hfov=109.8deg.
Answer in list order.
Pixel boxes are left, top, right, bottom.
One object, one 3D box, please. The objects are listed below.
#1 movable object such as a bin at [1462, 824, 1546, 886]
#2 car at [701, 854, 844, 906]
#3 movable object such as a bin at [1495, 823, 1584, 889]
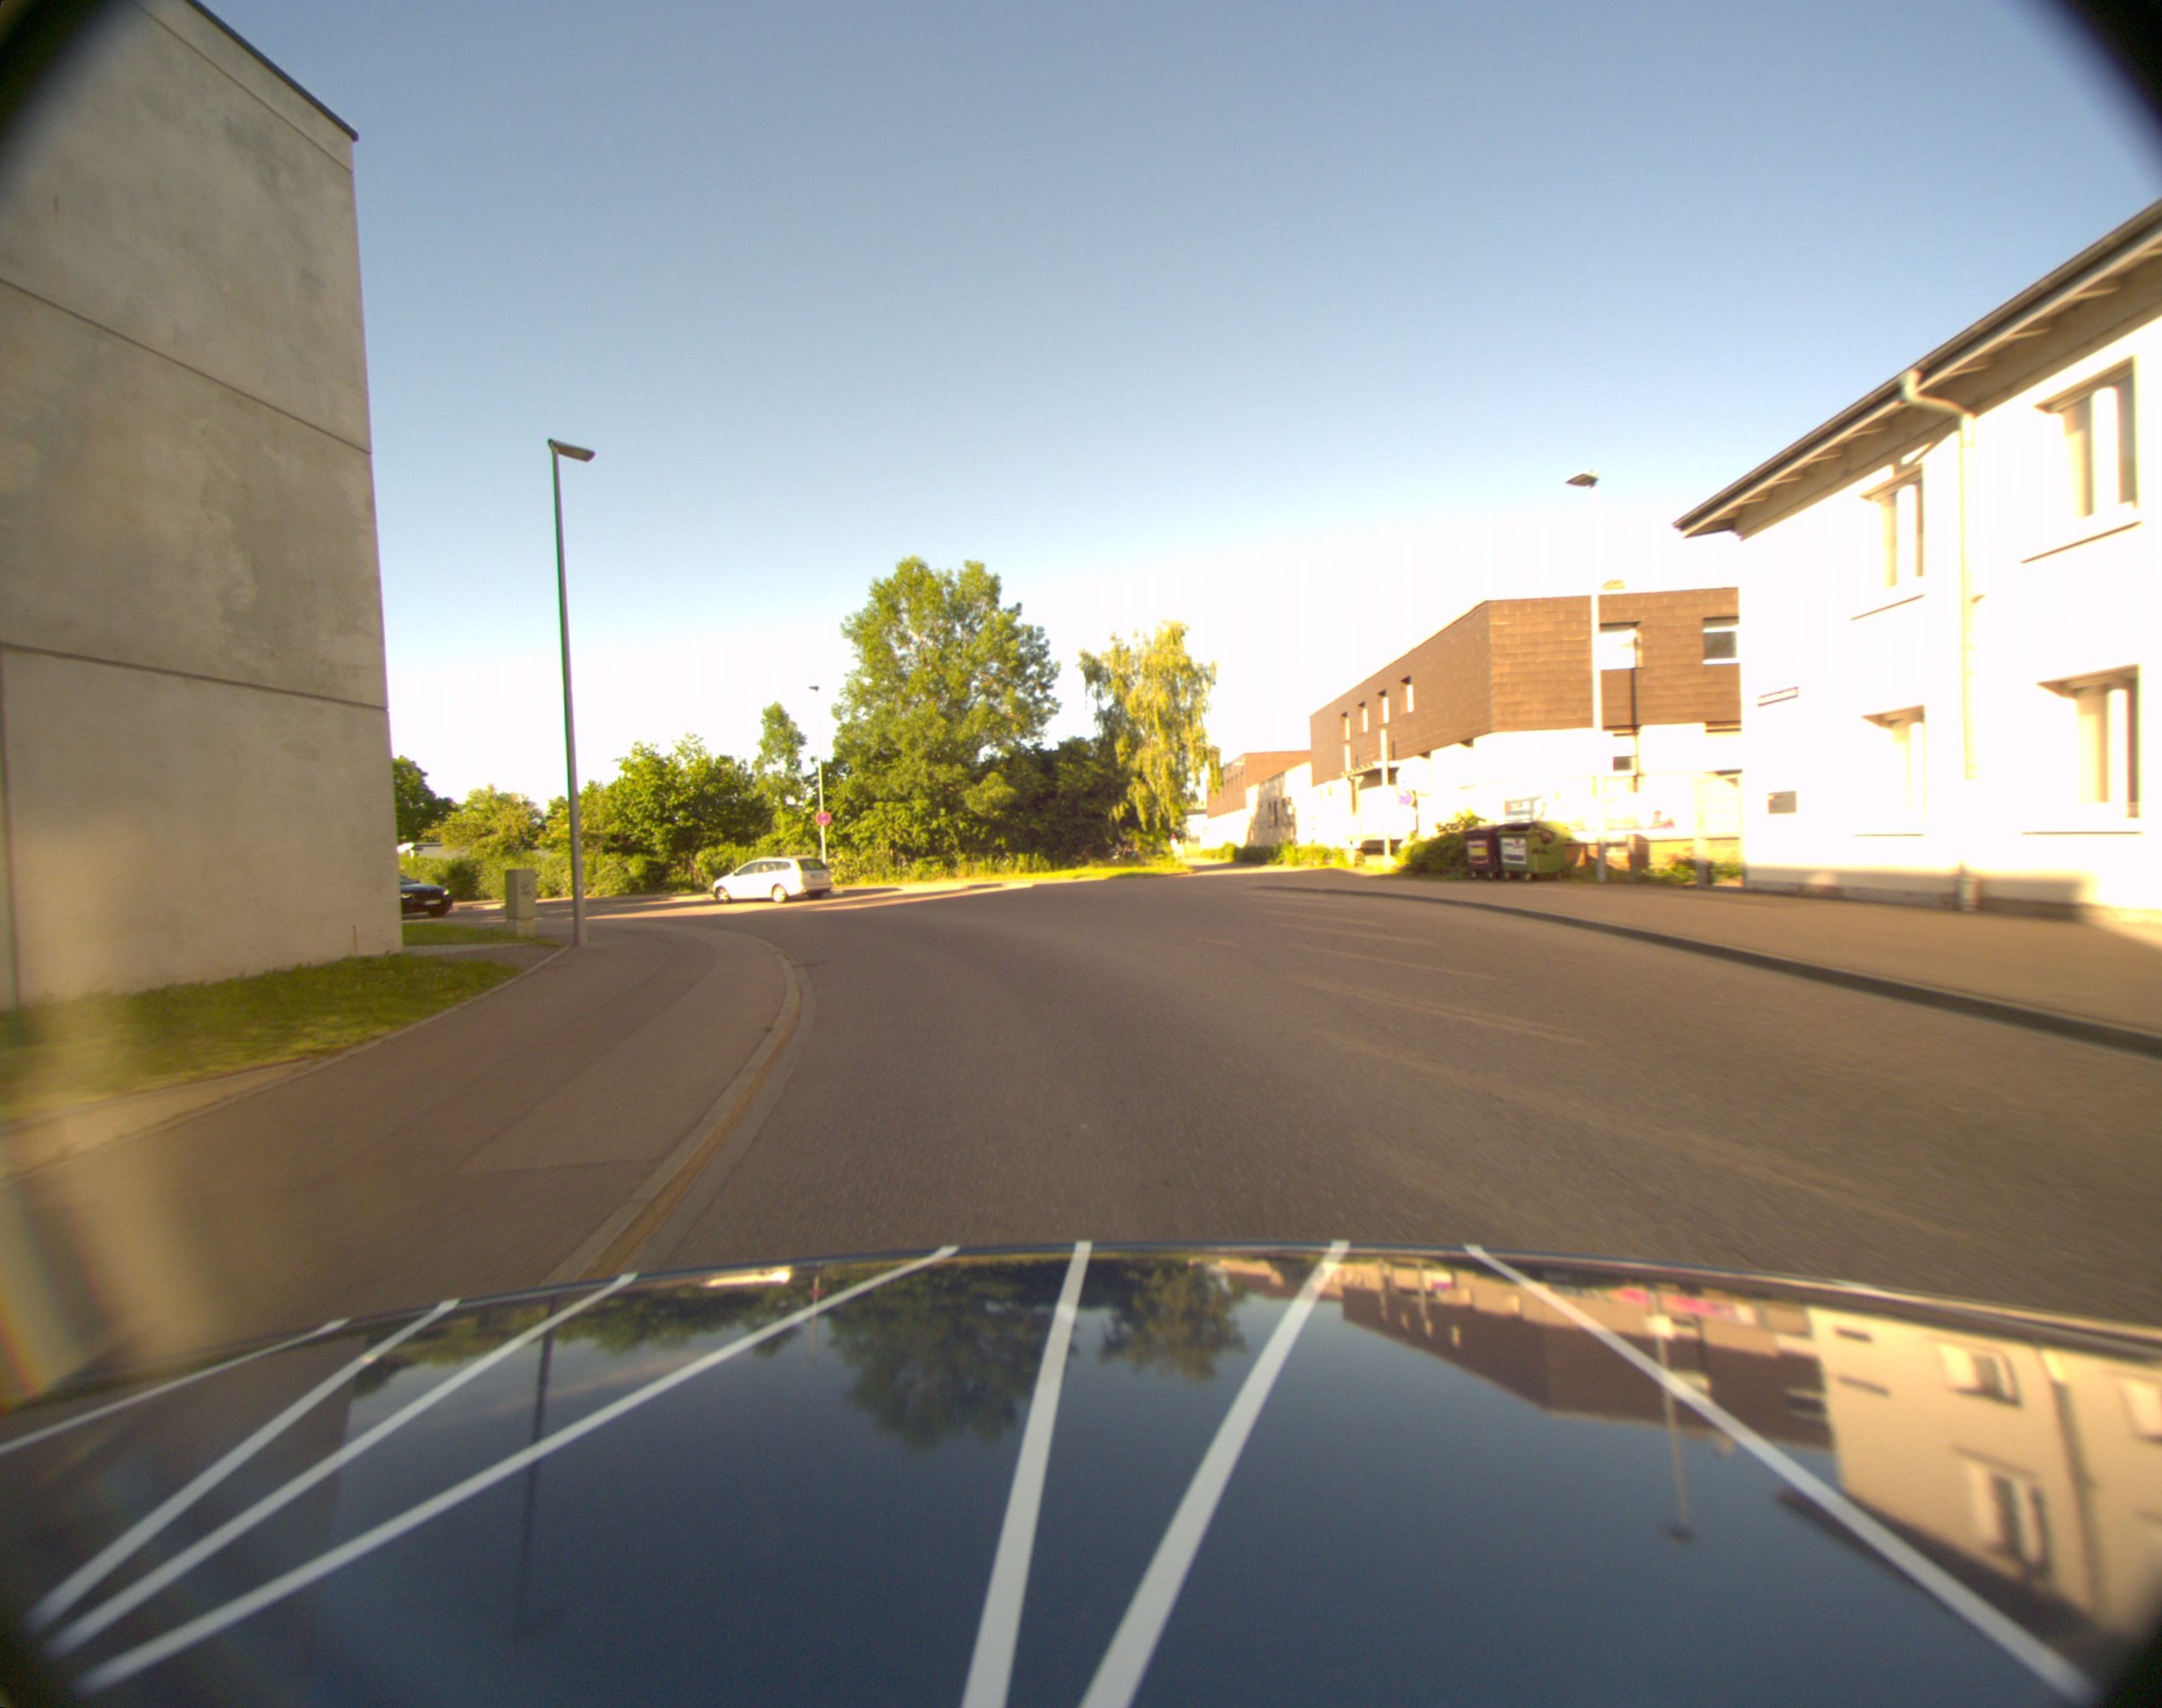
[{"bbox_3d":[10.745,0.016,19.362,1.364,1.463,1.288,-2,1,-3],"label":"movable object such as a bin"},{"bbox_3d":[-10.486,0.882,25.827,4.491,1.497,1.746,-2,3,24],"label":"car"},{"bbox_3d":[10.811,0.033,17.979,1.202,1.463,1.372,-2,1,-3],"label":"movable object such as a bin"}]
